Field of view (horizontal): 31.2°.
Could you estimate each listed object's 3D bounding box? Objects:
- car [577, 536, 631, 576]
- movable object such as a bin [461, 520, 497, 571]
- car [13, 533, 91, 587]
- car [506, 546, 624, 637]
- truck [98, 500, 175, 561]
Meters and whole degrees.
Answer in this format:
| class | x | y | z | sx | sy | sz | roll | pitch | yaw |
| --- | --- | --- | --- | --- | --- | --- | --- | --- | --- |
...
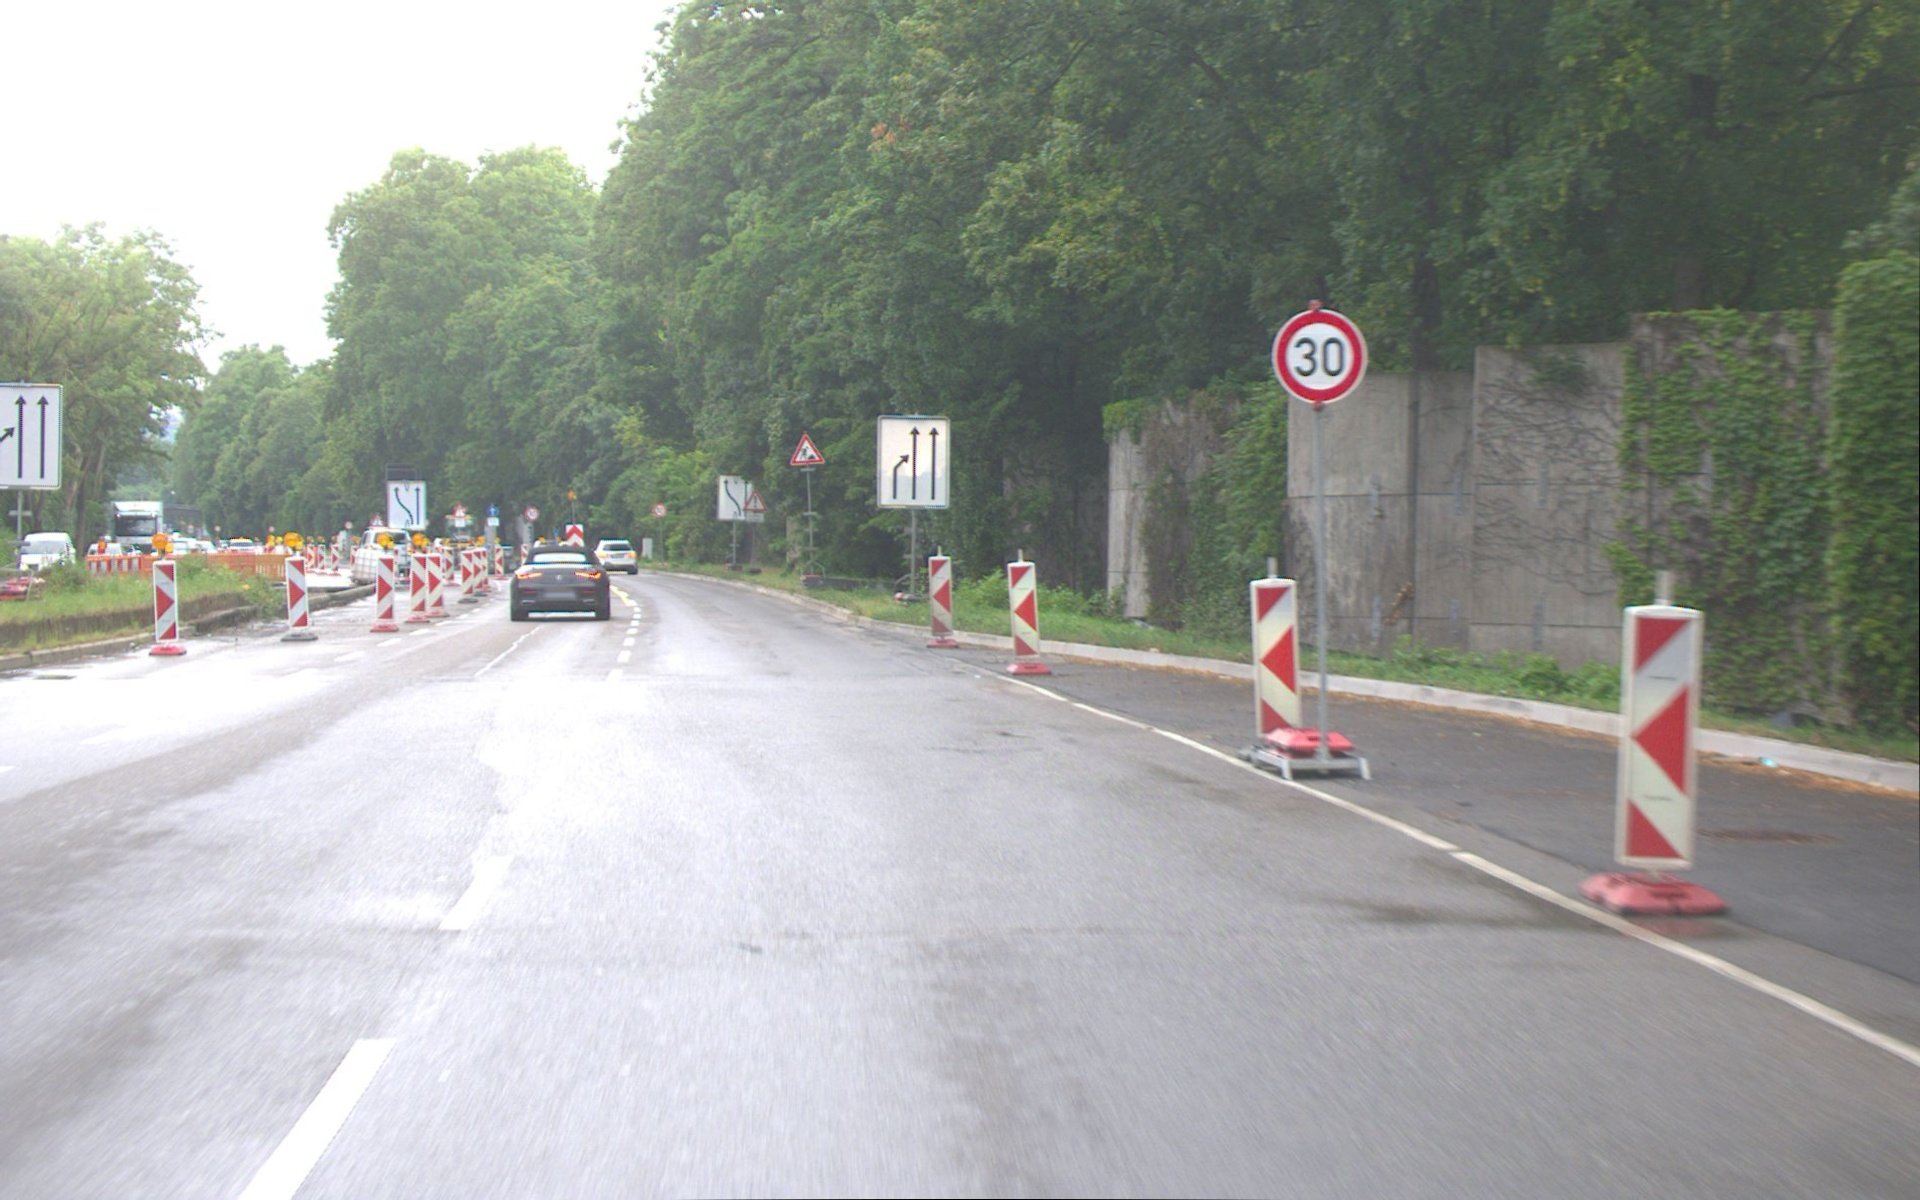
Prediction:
| class | x | y | z | sx | sy | sz | roll | pitch | yaw |
| --- | --- | --- | --- | --- | --- | --- | --- | --- | --- |
| car | -15.018 | -1.869 | 144.923 | 1.913 | 1.592 | 4.835 | 0 | 2 | -10 |
| movable object such as a bin | -27.349 | -3.120 | 195.391 | 1.746 | 2.857 | 3.535 | -1 | 1 | -12 |
| car | -31.462 | -1.406 | 119.239 | 1.913 | 1.775 | 4.835 | 0 | 1 | -6 |
| car | -7.497 | -0.190 | 65.543 | 1.862 | 1.486 | 4.001 | 2 | 3 | -2 |
| truck | -43.509 | -3.640 | 181.791 | 2.795 | 3.137 | 10.150 | 0 | 1 | -7 |
